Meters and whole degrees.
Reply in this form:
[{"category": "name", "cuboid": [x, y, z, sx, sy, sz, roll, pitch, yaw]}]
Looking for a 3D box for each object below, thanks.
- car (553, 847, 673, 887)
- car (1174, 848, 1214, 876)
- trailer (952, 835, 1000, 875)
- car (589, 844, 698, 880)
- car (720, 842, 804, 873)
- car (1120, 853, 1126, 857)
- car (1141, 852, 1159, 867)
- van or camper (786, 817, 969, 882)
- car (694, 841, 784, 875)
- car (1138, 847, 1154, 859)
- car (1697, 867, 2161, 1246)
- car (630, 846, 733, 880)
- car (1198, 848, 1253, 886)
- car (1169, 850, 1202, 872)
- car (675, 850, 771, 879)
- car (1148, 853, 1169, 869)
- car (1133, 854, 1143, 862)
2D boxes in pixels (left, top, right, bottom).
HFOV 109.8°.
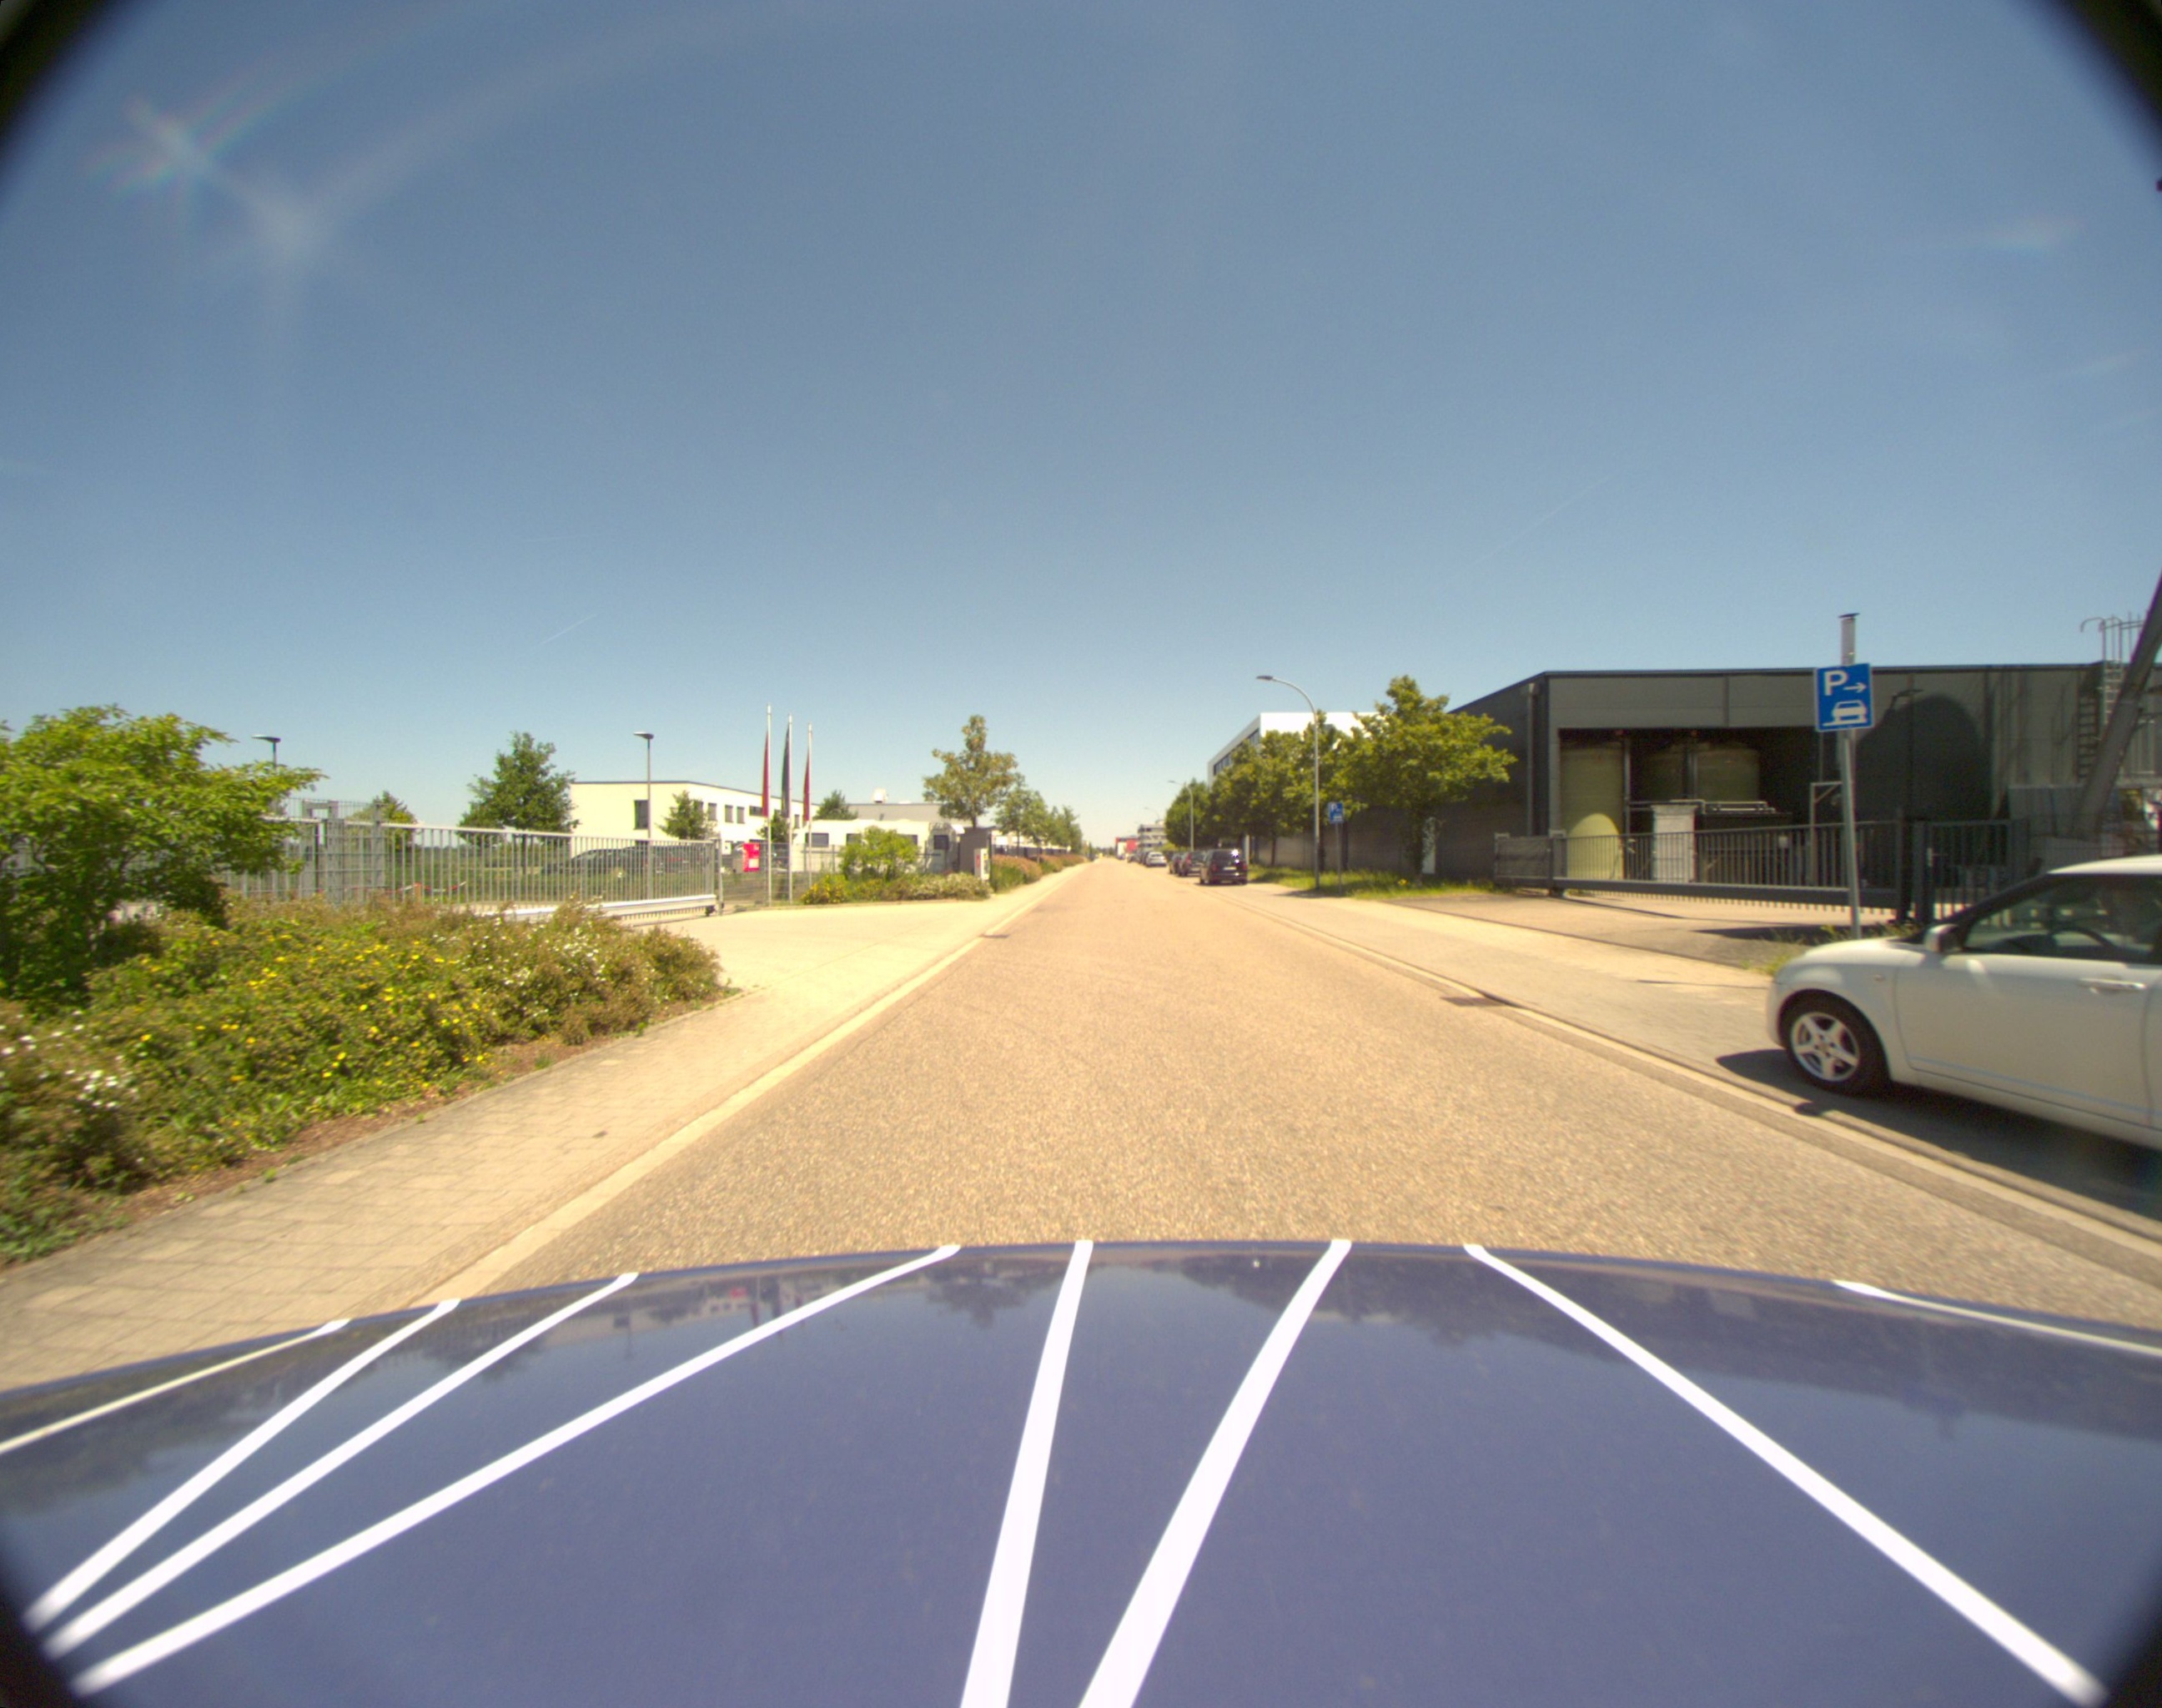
[{"category": "car", "cuboid": [-19.132, 0.515, 31.186, 3.830, 1.567, 1.750, 0, 1, 1]}, {"category": "car", "cuboid": [6.979, 0.449, 47.240, 1.775, 1.602, 4.852, -1, 0, 1]}, {"category": "trailer", "cuboid": [-6.538, 0.052, 47.551, 2.830, 2.389, 1.419, 1, 1, -2]}, {"category": "car", "cuboid": [-19.274, 0.351, 33.593, 3.830, 1.534, 1.678, 0, 1, 1]}, {"category": "car", "cuboid": [-18.547, 0.183, 44.271, 4.051, 1.753, 1.918, 0, 1, 1]}, {"category": "car", "cuboid": [13.870, 0.310, 251.425, 1.694, 1.481, 3.661, -3, 0, 3]}, {"category": "car", "cuboid": [7.989, 0.591, 88.060, 1.775, 1.614, 4.582, 2, 1, 2]}, {"category": "van or camper", "cuboid": [-8.254, -0.187, 31.364, 6.773, 2.570, 2.636, 0, 1, 1]}, {"category": "car", "cuboid": [-18.818, 0.207, 41.935, 4.051, 1.796, 1.918, 0, 1, 1]}, {"category": "car", "cuboid": [8.607, -0.132, 100.985, 1.775, 1.578, 4.481, -1, 0, 0]}, {"category": "car", "cuboid": [5.292, 0.858, 3.521, 1.725, 1.467, 3.857, -1, 0, 0]}, {"category": "car", "cuboid": [-19.090, 0.419, 36.419, 4.051, 1.540, 1.748, 0, 1, 1]}, {"category": "car", "cuboid": [6.583, 0.543, 35.068, 1.775, 1.602, 4.247, -1, 0, 1]}, {"category": "car", "cuboid": [7.346, 0.451, 53.651, 1.775, 1.422, 4.201, -1, 0, 1]}, {"category": "car", "cuboid": [-18.250, 0.513, 38.834, 4.051, 1.423, 1.748, 0, 1, 1]}, {"category": "car", "cuboid": [7.719, 0.675, 76.164, 1.775, 1.422, 3.940, -2, 0, 2]}, {"category": "car", "cuboid": [10.506, 0.722, 140.783, 1.678, 1.442, 4.069, -2, 0, 2]}]
